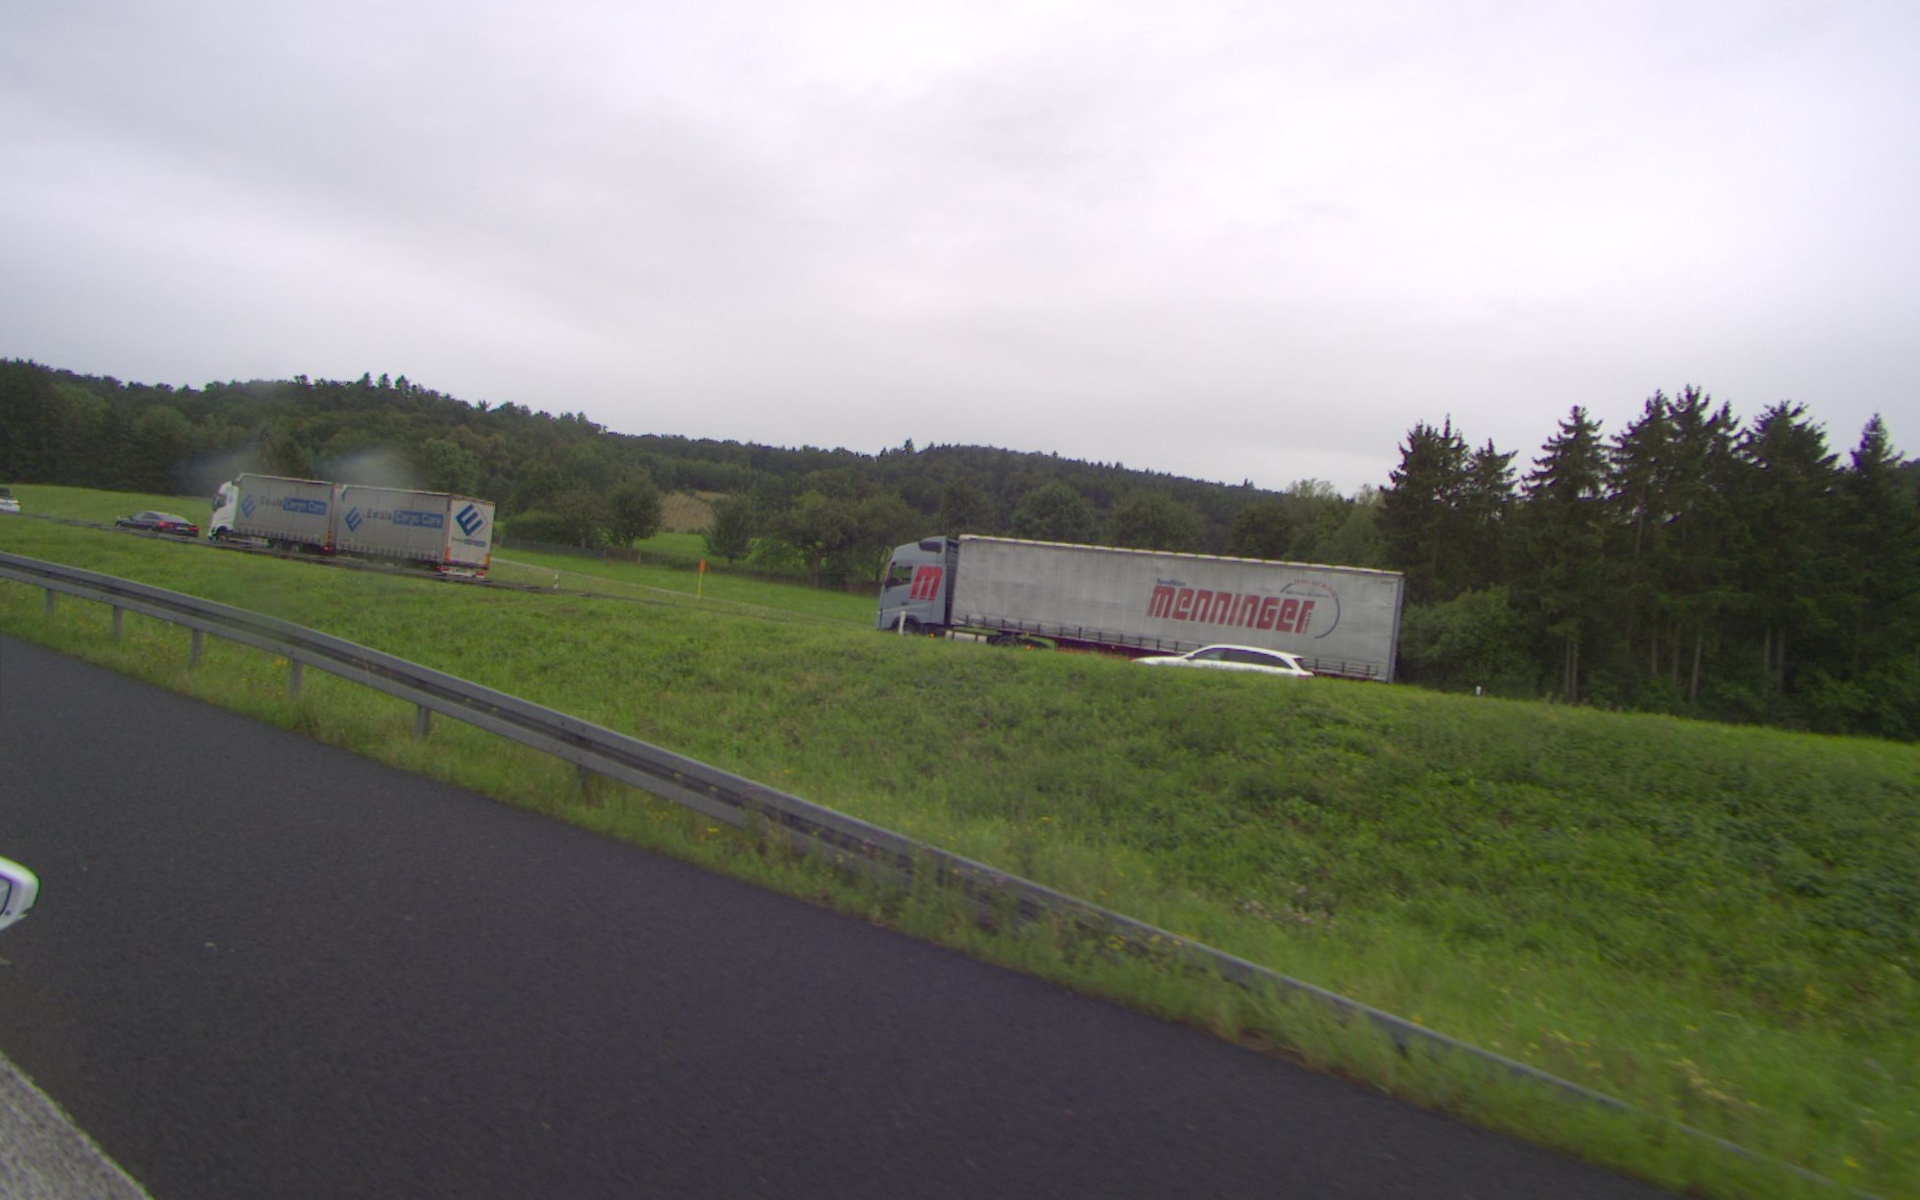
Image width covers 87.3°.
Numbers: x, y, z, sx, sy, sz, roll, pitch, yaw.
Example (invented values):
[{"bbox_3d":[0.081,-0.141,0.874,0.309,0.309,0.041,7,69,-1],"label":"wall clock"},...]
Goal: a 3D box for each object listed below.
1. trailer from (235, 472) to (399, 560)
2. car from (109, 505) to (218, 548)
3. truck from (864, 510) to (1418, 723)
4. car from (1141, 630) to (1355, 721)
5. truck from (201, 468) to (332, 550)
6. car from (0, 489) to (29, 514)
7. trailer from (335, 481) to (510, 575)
[{"bbox_3d":[-33.708,-4.429,52.693,8.269,3.567,2.948,7,-2,25],"label":"trailer"},{"bbox_3d":[-38.356,-3.552,48.420,5.224,1.393,1.992,7,-1,26],"label":"car"},{"bbox_3d":[5.286,0.273,32.135,16.581,4.595,3.832,7,-1,24],"label":"truck"},{"bbox_3d":[7.517,1.919,26.285,4.988,1.636,1.999,7,-1,25],"label":"car"},{"bbox_3d":[-37.543,-4.933,54.448,5.821,3.567,2.948,7,-2,25],"label":"truck"},{"bbox_3d":[-62.046,-6.488,64.138,4.987,1.393,1.992,7,-1,23],"label":"car"},{"bbox_3d":[-26.358,-3.545,49.300,7.939,3.567,3.089,7,-2,25],"label":"trailer"}]
